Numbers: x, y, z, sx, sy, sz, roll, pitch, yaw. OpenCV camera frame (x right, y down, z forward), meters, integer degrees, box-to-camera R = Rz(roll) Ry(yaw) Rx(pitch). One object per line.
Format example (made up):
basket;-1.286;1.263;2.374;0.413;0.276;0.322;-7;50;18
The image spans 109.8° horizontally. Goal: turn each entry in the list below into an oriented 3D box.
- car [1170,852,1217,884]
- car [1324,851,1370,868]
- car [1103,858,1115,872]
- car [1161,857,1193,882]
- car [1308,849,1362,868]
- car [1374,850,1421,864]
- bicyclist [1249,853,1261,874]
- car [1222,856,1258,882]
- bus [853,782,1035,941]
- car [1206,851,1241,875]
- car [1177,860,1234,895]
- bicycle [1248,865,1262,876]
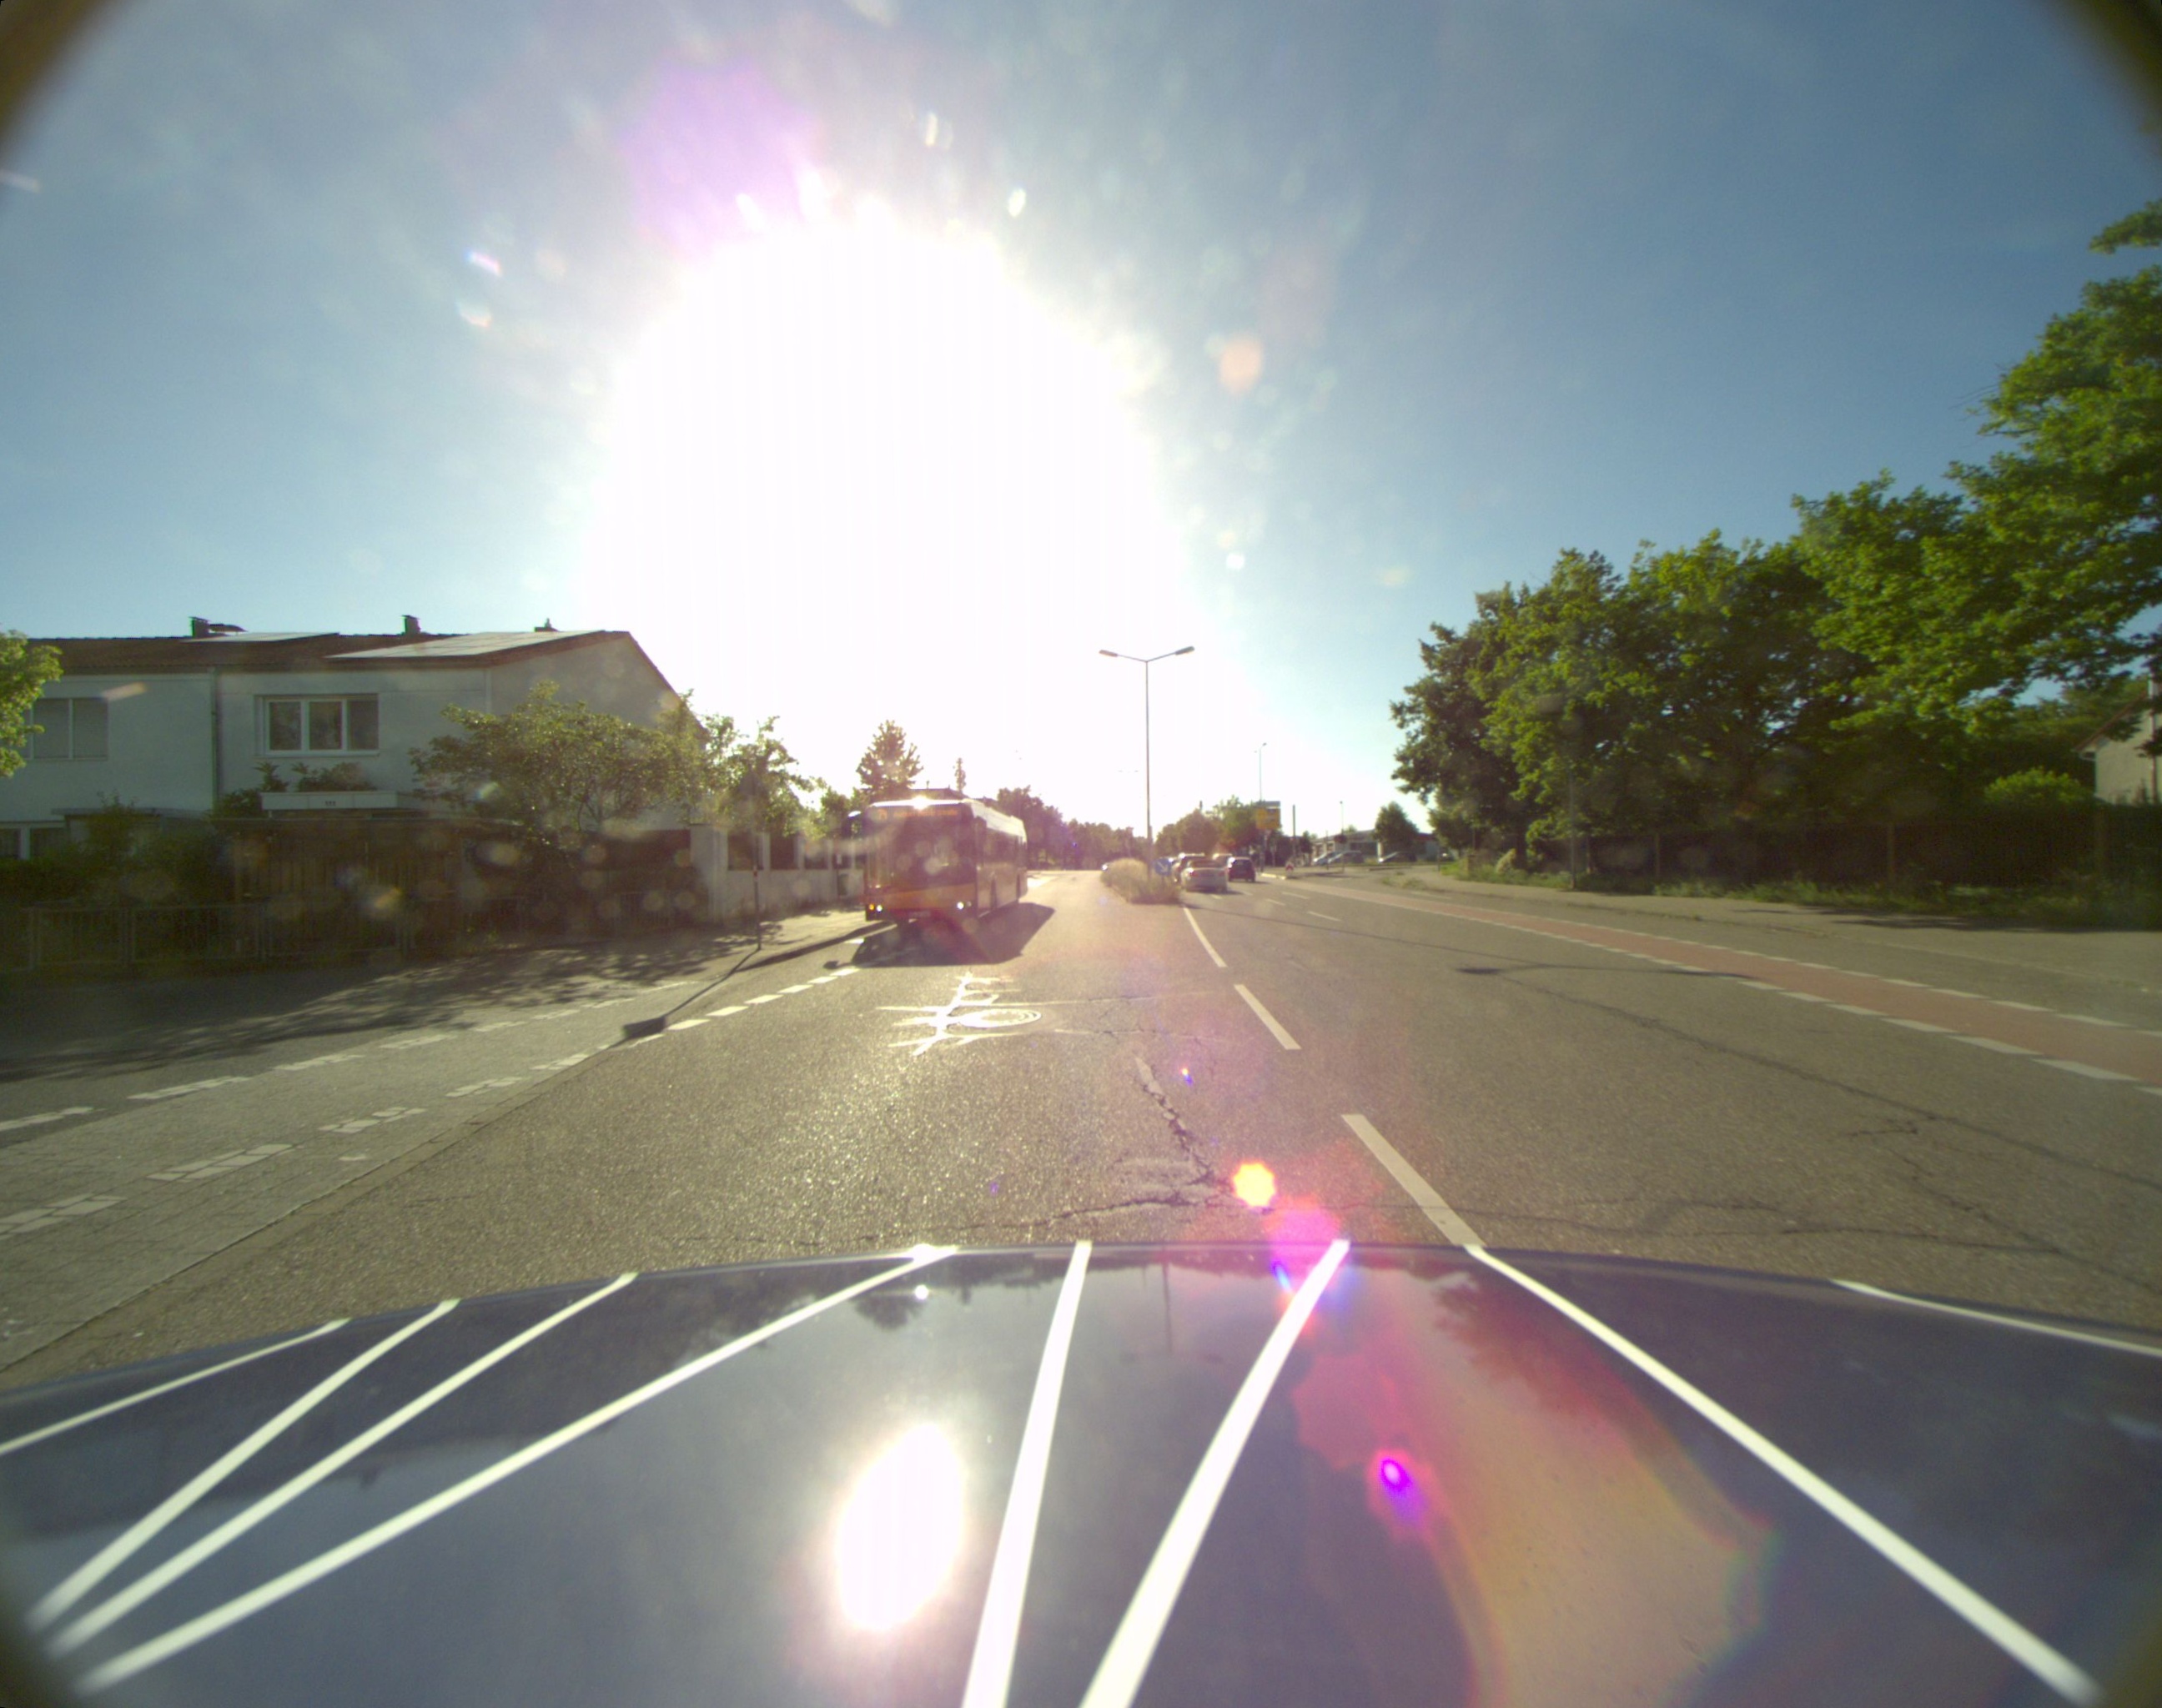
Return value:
car;5.931;0.718;40.453;1.998;1.606;4.531;-1;0;3
car;27.491;0.580;78.523;4.037;1.634;1.894;-1;-2;-1
car;3.967;1.571;108.228;1.729;2.002;4.000;-1;0;2
car;5.979;0.937;47.533;1.751;1.474;3.889;-1;0;4
car;28.609;0.482;85.674;5.272;2.001;2.048;-1;-2;-1
car;32.762;0.307;78.805;4.037;1.266;1.894;-1;-2;-1
bicyclist;13.793;0.747;60.289;0.746;1.692;1.242;-1;0;3
car;9.601;0.899;46.062;1.649;1.474;3.714;-1;0;4
bus;-3.344;0.094;22.693;2.764;3.438;12.397;0;1;2
car;10.396;0.633;55.660;1.998;1.634;4.531;-1;0;4
car;5.457;0.989;33.889;1.998;1.442;4.400;-1;0;3
bicycle;13.786;1.311;60.324;0.750;0.843;1.990;-1;0;2
